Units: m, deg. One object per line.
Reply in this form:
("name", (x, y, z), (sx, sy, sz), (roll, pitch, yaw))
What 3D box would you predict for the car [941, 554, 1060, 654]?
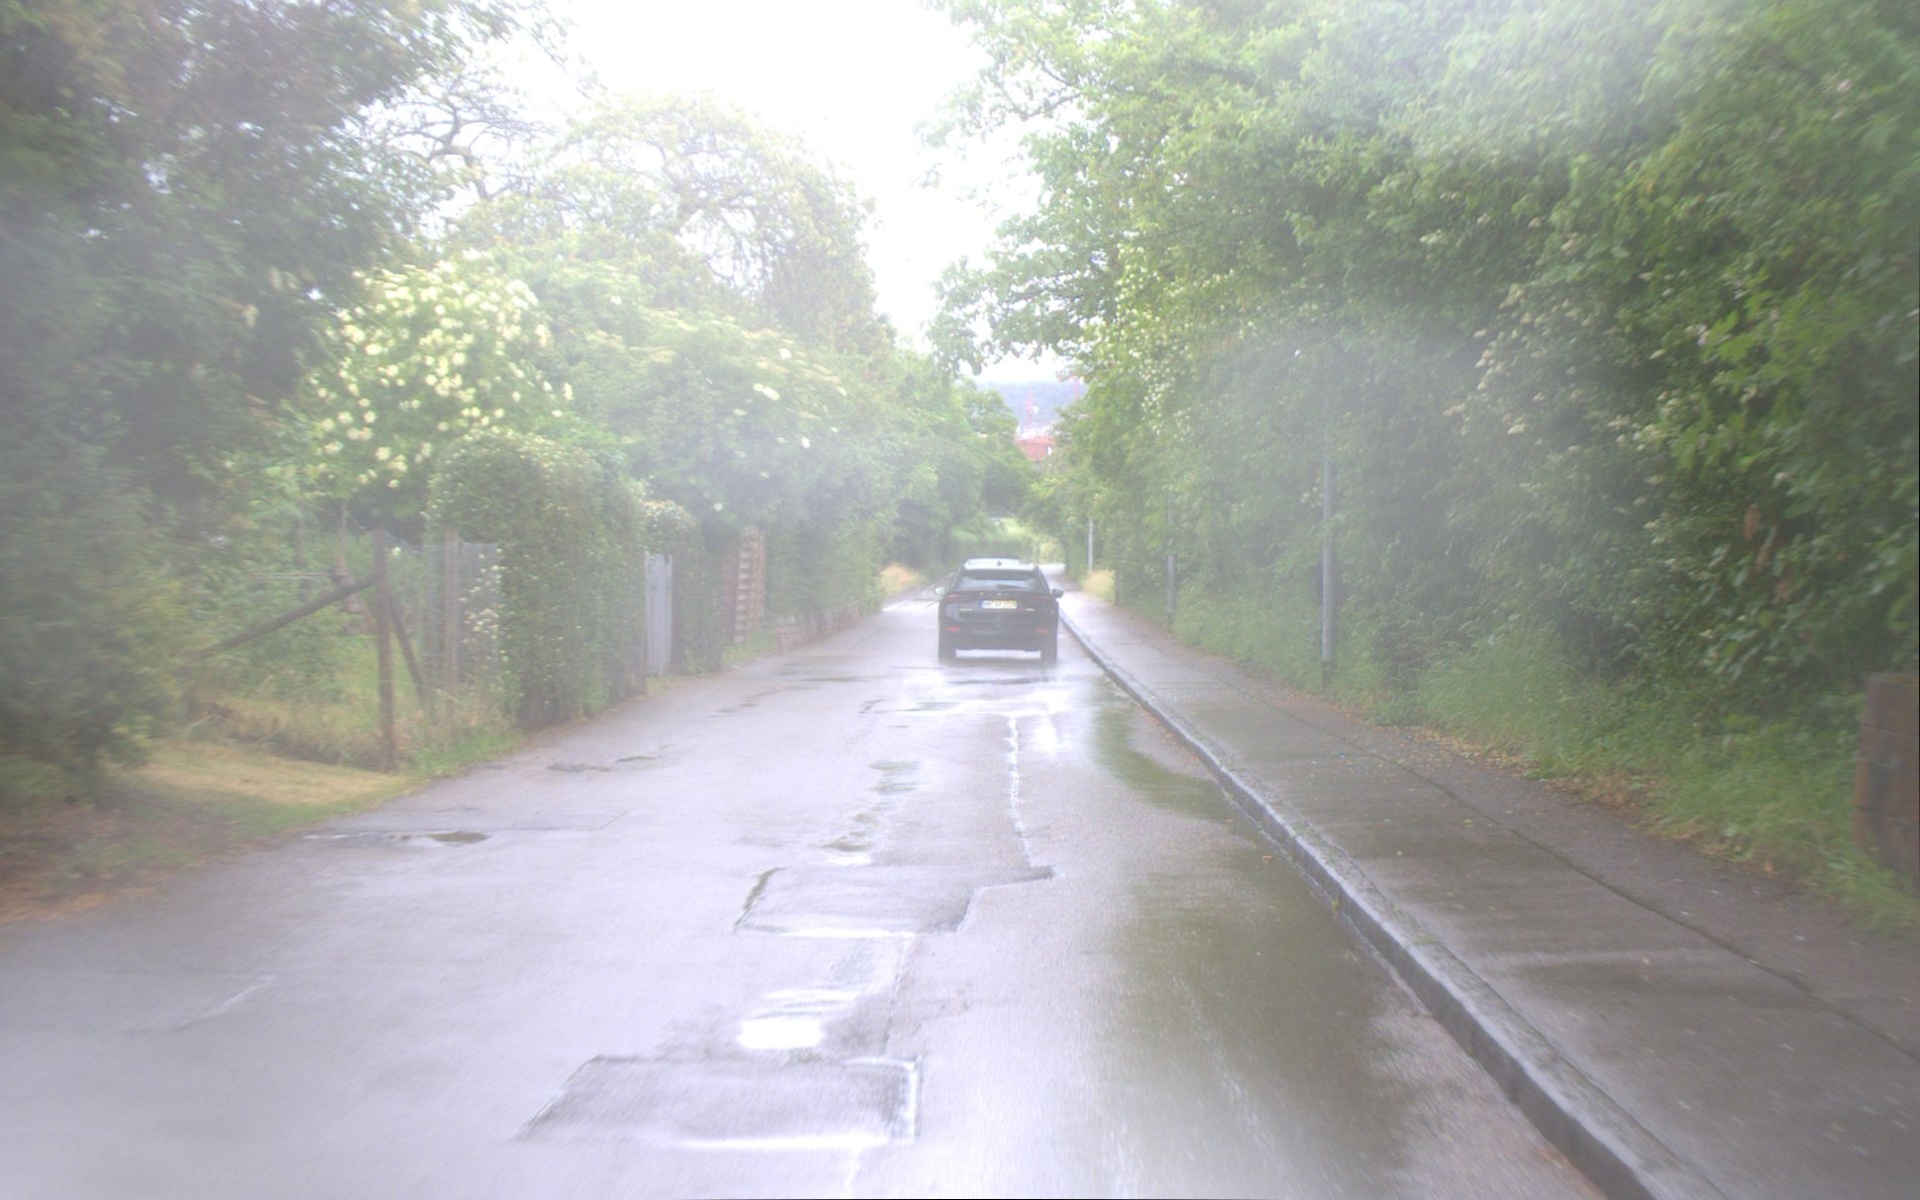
("car", (0.633, 0.062, 51.250), (1.635, 1.445, 3.544), (0, 0, 3))
